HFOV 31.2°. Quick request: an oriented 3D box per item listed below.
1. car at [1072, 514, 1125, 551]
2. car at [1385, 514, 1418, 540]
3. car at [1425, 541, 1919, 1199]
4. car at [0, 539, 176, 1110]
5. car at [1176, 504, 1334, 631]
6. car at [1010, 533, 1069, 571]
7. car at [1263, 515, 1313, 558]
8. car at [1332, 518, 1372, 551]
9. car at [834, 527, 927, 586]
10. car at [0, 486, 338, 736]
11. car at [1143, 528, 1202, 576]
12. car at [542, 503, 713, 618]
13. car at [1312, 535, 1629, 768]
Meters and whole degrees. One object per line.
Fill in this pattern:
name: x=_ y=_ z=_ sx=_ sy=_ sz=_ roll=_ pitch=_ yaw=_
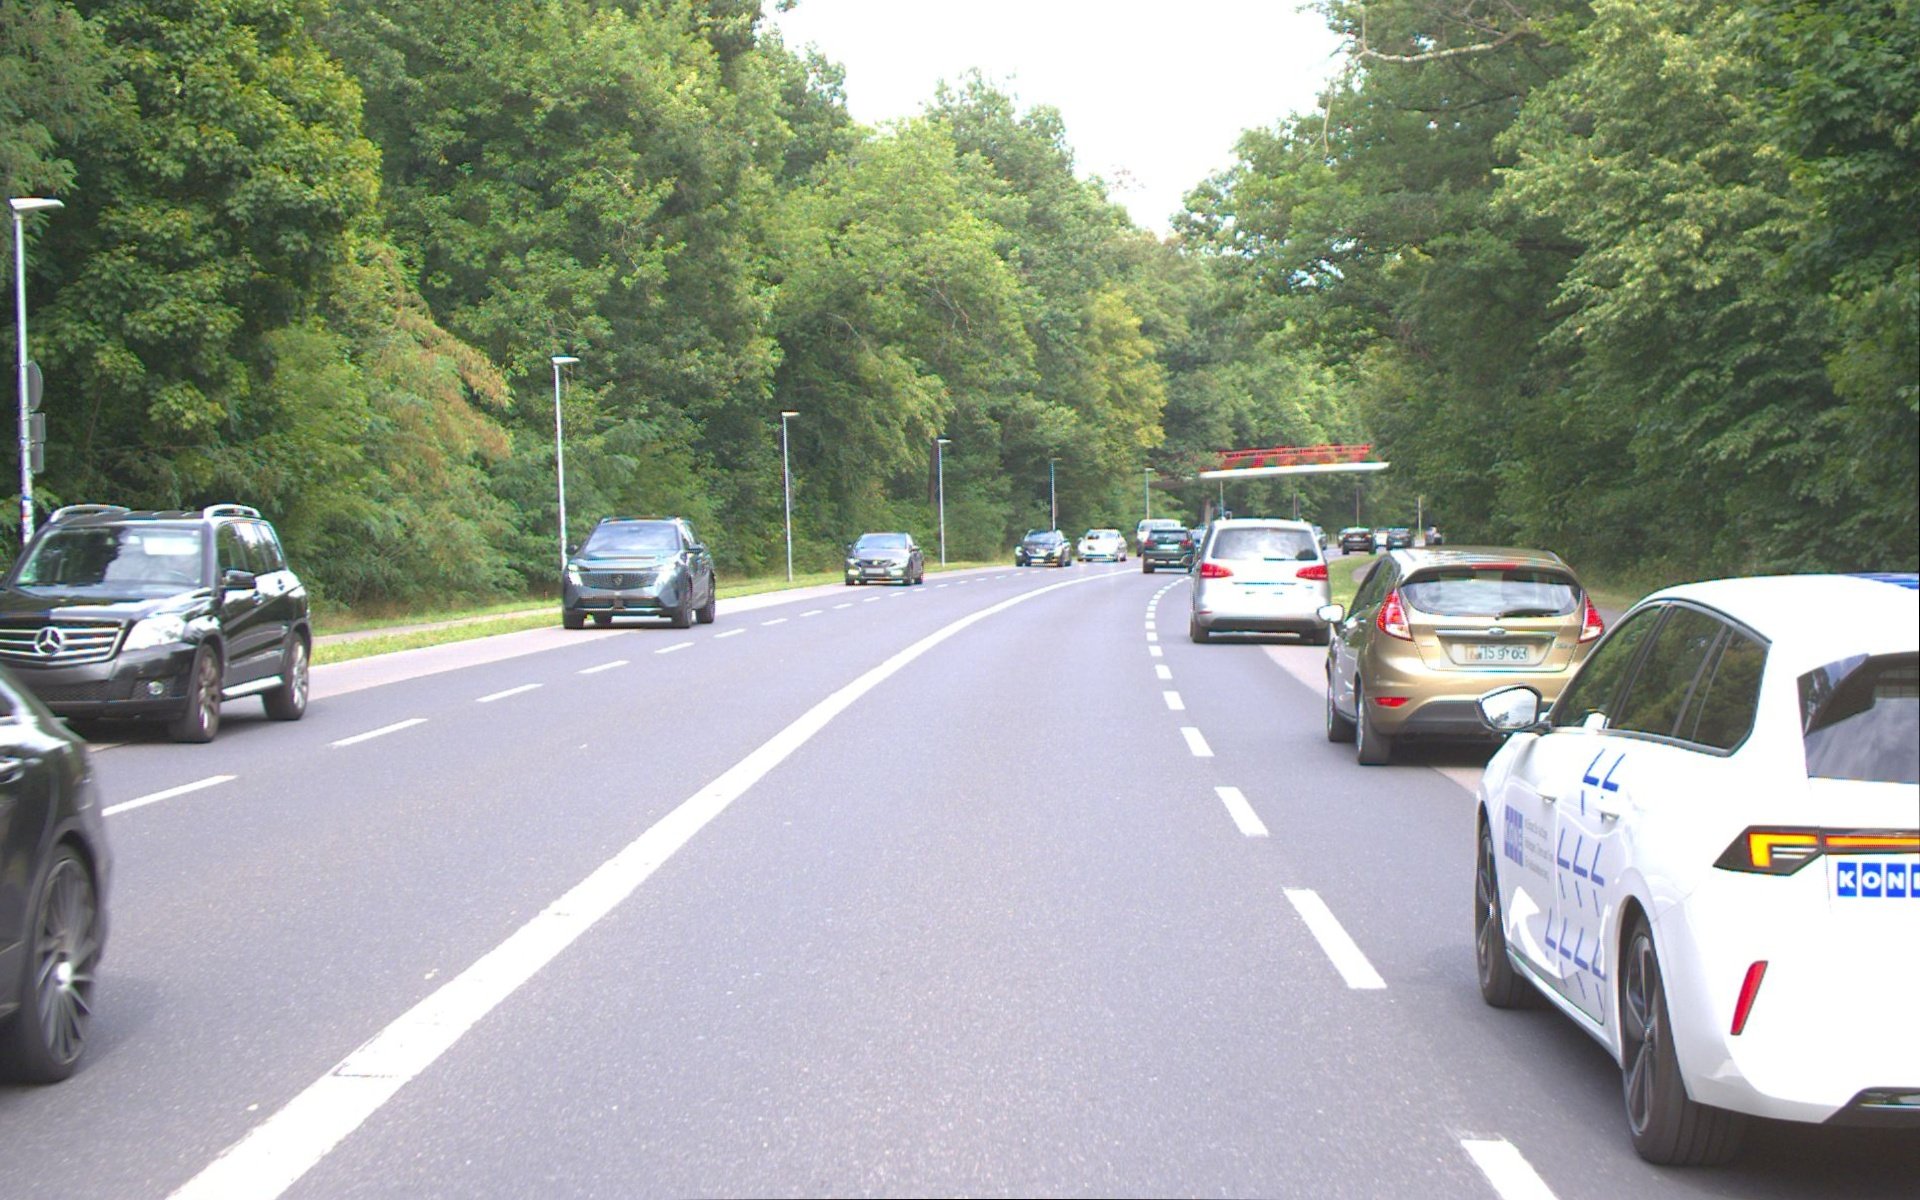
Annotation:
car: x=6.306 y=-3.039 z=155.979 sx=1.994 sy=1.557 sz=4.603 roll=2 pitch=0 yaw=7
car: x=29.783 y=-4.917 z=231.796 sx=1.994 sy=1.700 sz=3.998 roll=0 pitch=1 yaw=10
car: x=2.486 y=0.573 z=9.485 sx=1.836 sy=1.405 sz=4.491 roll=1 pitch=2 yaw=1
car: x=-3.412 y=0.555 z=7.959 sx=1.993 sy=1.430 sz=4.721 roll=1 pitch=0 yaw=1
car: x=4.002 y=-0.439 z=47.220 sx=1.994 sy=1.601 sz=4.000 roll=2 pitch=0 yaw=3
car: x=3.170 y=-1.886 z=135.896 sx=1.881 sy=1.438 sz=4.402 roll=2 pitch=0 yaw=7
car: x=14.387 y=-2.784 z=150.673 sx=1.994 sy=1.777 sz=3.999 roll=2 pitch=0 yaw=7
car: x=22.919 y=-3.819 z=200.876 sx=1.994 sy=1.777 sz=3.998 roll=2 pitch=0 yaw=11
car: x=-2.115 y=-1.155 z=92.551 sx=1.897 sy=1.478 sz=4.537 roll=2 pitch=0 yaw=6
car: x=-5.970 y=0.051 z=25.112 sx=1.923 sy=1.649 sz=4.469 roll=1 pitch=0 yaw=1
car: x=7.471 y=-1.661 z=120.389 sx=1.730 sy=1.582 sz=3.999 roll=2 pitch=0 yaw=8
car: x=-5.026 y=-0.599 z=52.553 sx=1.993 sy=1.611 sz=4.663 roll=2 pitch=0 yaw=2
car: x=3.419 y=0.307 z=23.659 sx=1.635 sy=1.415 sz=4.000 roll=2 pitch=0 yaw=1
